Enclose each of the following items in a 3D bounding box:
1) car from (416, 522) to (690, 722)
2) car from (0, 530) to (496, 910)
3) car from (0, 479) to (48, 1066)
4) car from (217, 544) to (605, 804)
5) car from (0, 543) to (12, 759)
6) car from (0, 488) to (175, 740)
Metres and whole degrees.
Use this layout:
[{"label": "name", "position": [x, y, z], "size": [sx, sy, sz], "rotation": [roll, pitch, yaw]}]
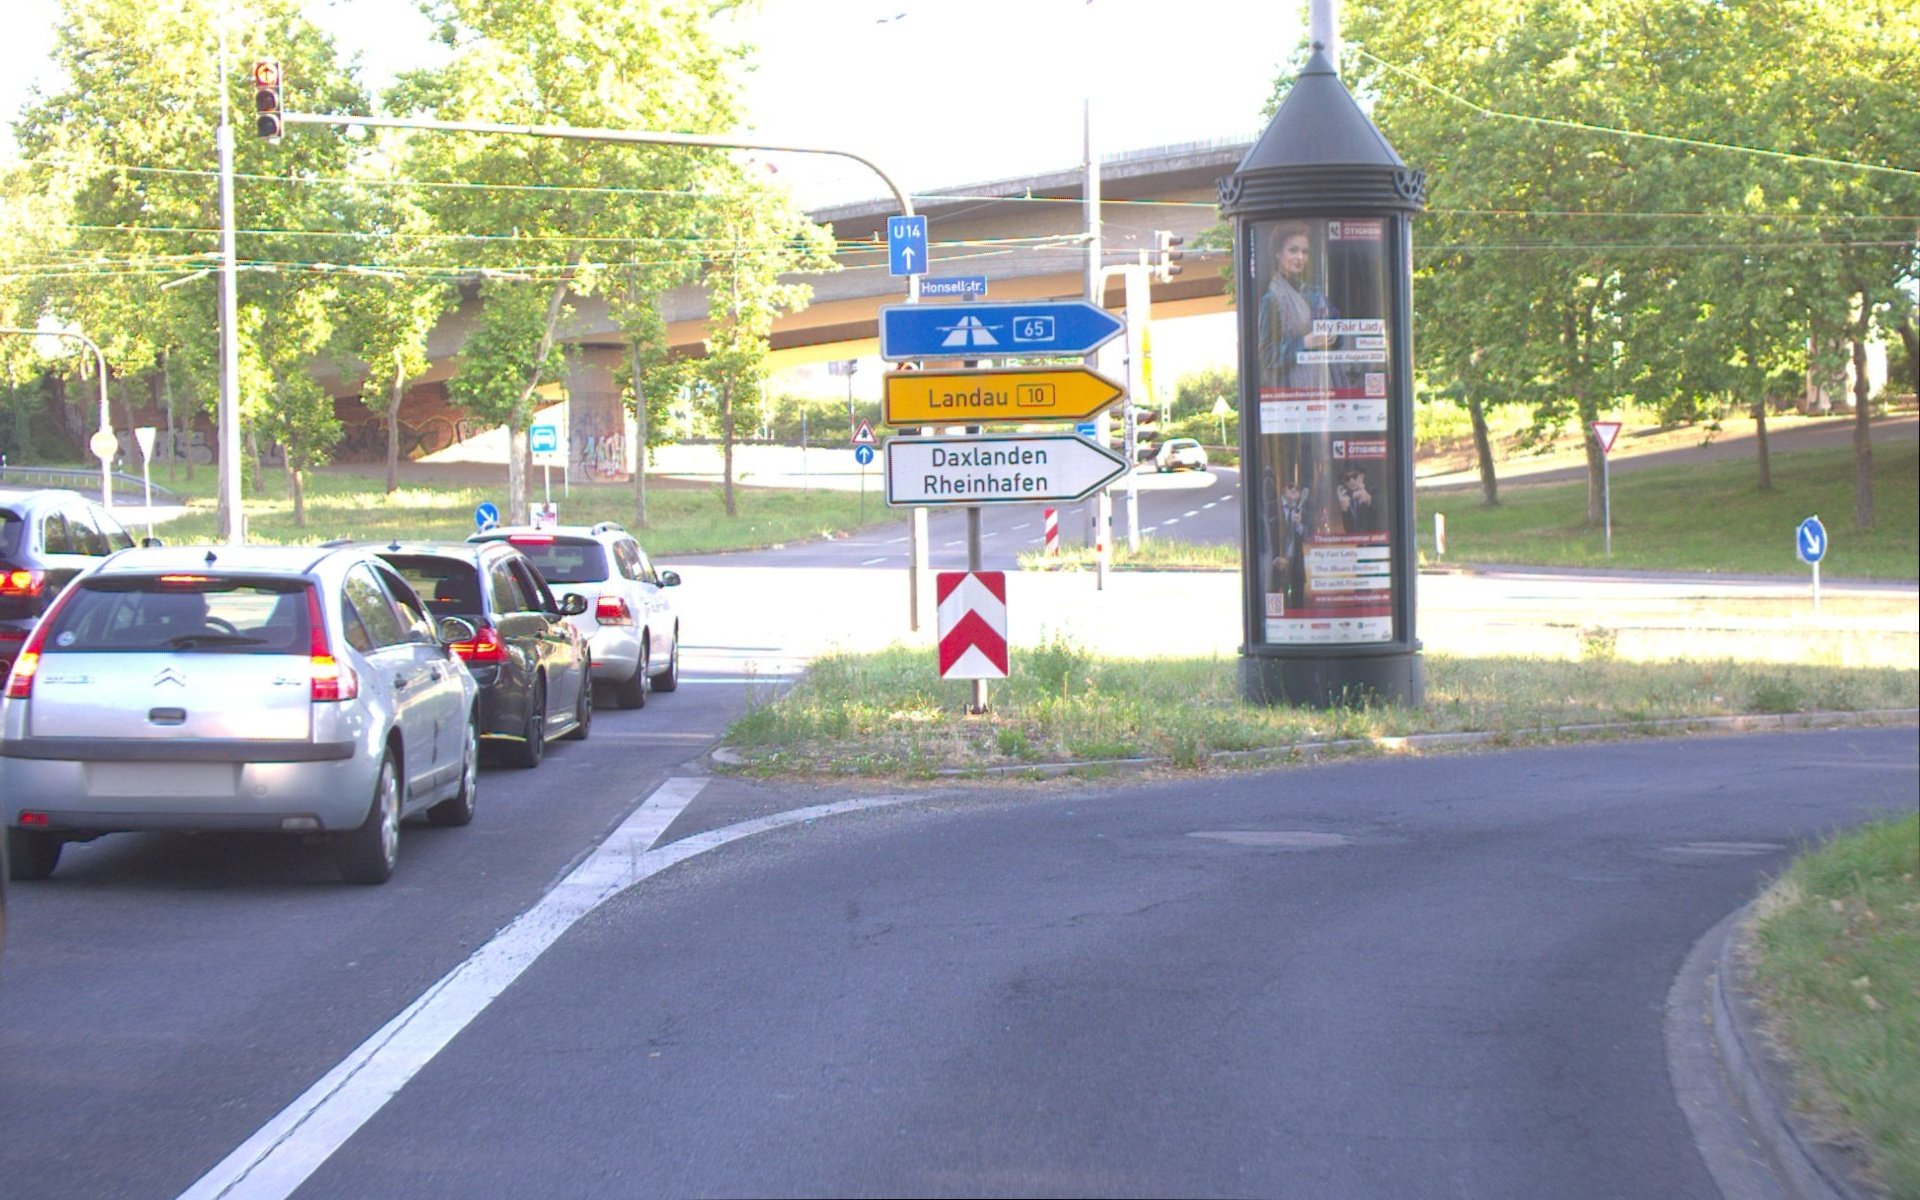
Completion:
[{"label": "car", "position": [-3.335, 0.125, 28.857], "size": [1.792, 1.437, 4.001], "rotation": [-3, 2, 0]}, {"label": "car", "position": [-3.410, 0.472, 16.471], "size": [1.792, 1.476, 4.001], "rotation": [-3, 2, 0]}, {"label": "car", "position": [-3.773, 0.602, 8.729], "size": [1.792, 1.744, 4.001], "rotation": [-3, 2, 0]}, {"label": "car", "position": [-3.469, 0.402, 22.509], "size": [1.792, 1.378, 4.477], "rotation": [-3, 2, 0]}, {"label": "car", "position": [-7.278, 0.397, 20.859], "size": [1.742, 1.427, 4.411], "rotation": [0, 2, 1]}, {"label": "car", "position": [-7.477, 0.062, 27.131], "size": [1.792, 1.786, 4.828], "rotation": [-3, 2, -5]}]
